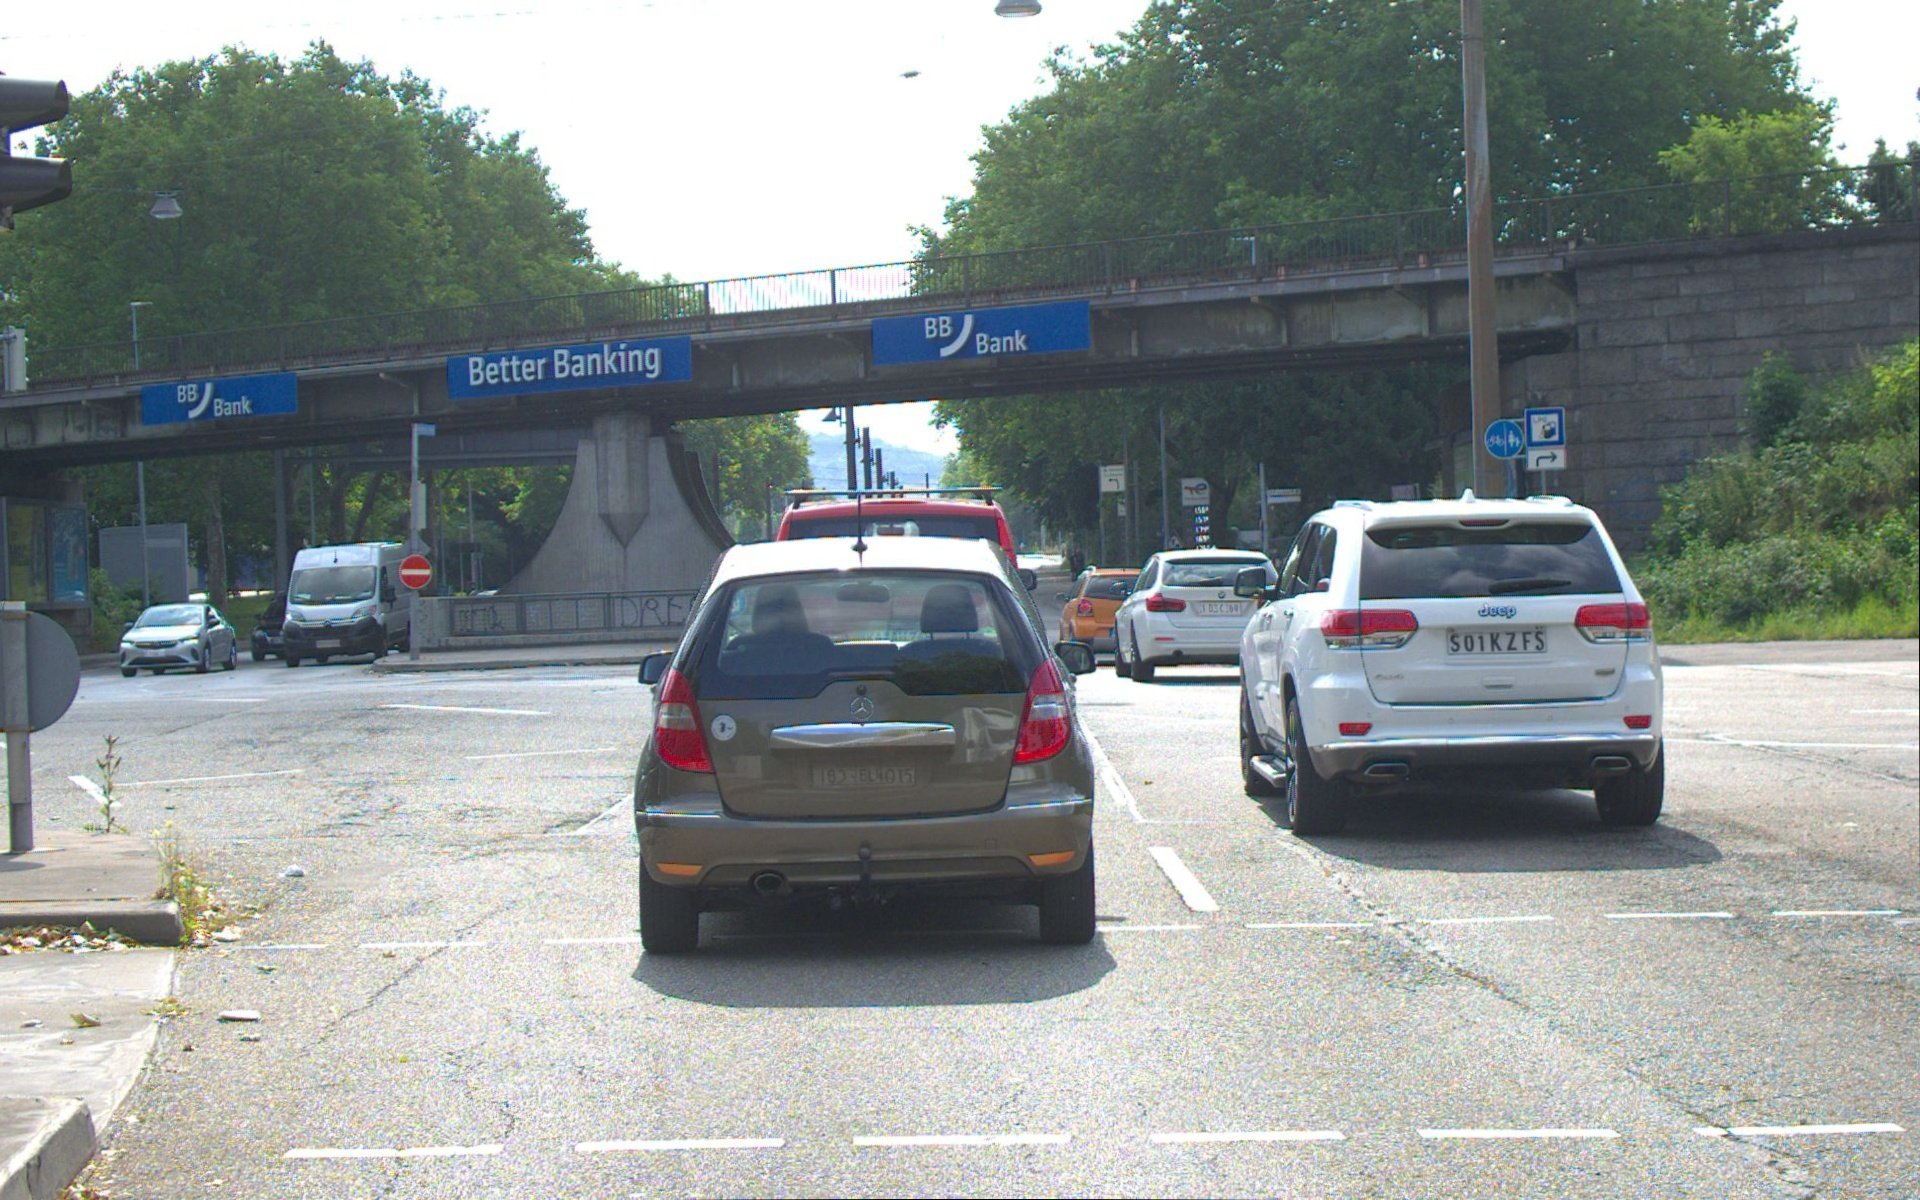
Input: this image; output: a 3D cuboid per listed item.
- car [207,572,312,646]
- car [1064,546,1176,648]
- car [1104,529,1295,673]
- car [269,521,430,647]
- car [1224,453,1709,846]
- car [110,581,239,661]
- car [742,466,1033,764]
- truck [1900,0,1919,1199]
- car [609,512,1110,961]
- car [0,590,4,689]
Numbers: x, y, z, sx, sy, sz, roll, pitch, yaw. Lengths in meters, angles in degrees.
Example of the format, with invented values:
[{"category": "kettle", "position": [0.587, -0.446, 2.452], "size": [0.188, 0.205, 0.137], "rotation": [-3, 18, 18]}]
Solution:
[{"category": "car", "position": [-16.792, 0.196, 82.584], "size": [1.765, 1.577, 4.665], "rotation": [-5, 1, -4]}, {"category": "car", "position": [2.443, -0.042, 53.103], "size": [1.544, 1.516, 3.617], "rotation": [0, 0, 0]}, {"category": "car", "position": [2.616, 0.013, 38.221], "size": [1.852, 1.516, 3.617], "rotation": [0, 0, 0]}, {"category": "car", "position": [-12.791, -0.348, 72.403], "size": [2.258, 2.518, 5.626], "rotation": [-1, 1, 1]}, {"category": "car", "position": [2.673, 0.204, 19.209], "size": [1.995, 1.895, 4.509], "rotation": [-1, 1, 0]}, {"category": "car", "position": [-16.014, 0.410, 70.263], "size": [1.702, 1.471, 4.000], "rotation": [-4, 1, -1]}, {"category": "car", "position": [-0.501, 0.051, 25.628], "size": [1.955, 2.010, 4.677], "rotation": [0, 1, 0]}, {"category": "truck", "position": [3.056, -0.149, 3.556], "size": [2.447, 3.110, 6.028], "rotation": [0, 0, -1]}, {"category": "car", "position": [-0.367, 0.462, 14.306], "size": [1.792, 1.603, 3.799], "rotation": [-1, 1, 0]}, {"category": "car", "position": [-13.889, -0.201, 42.782], "size": [2.198, 2.717, 4.930], "rotation": [-2, 0, -35]}]
